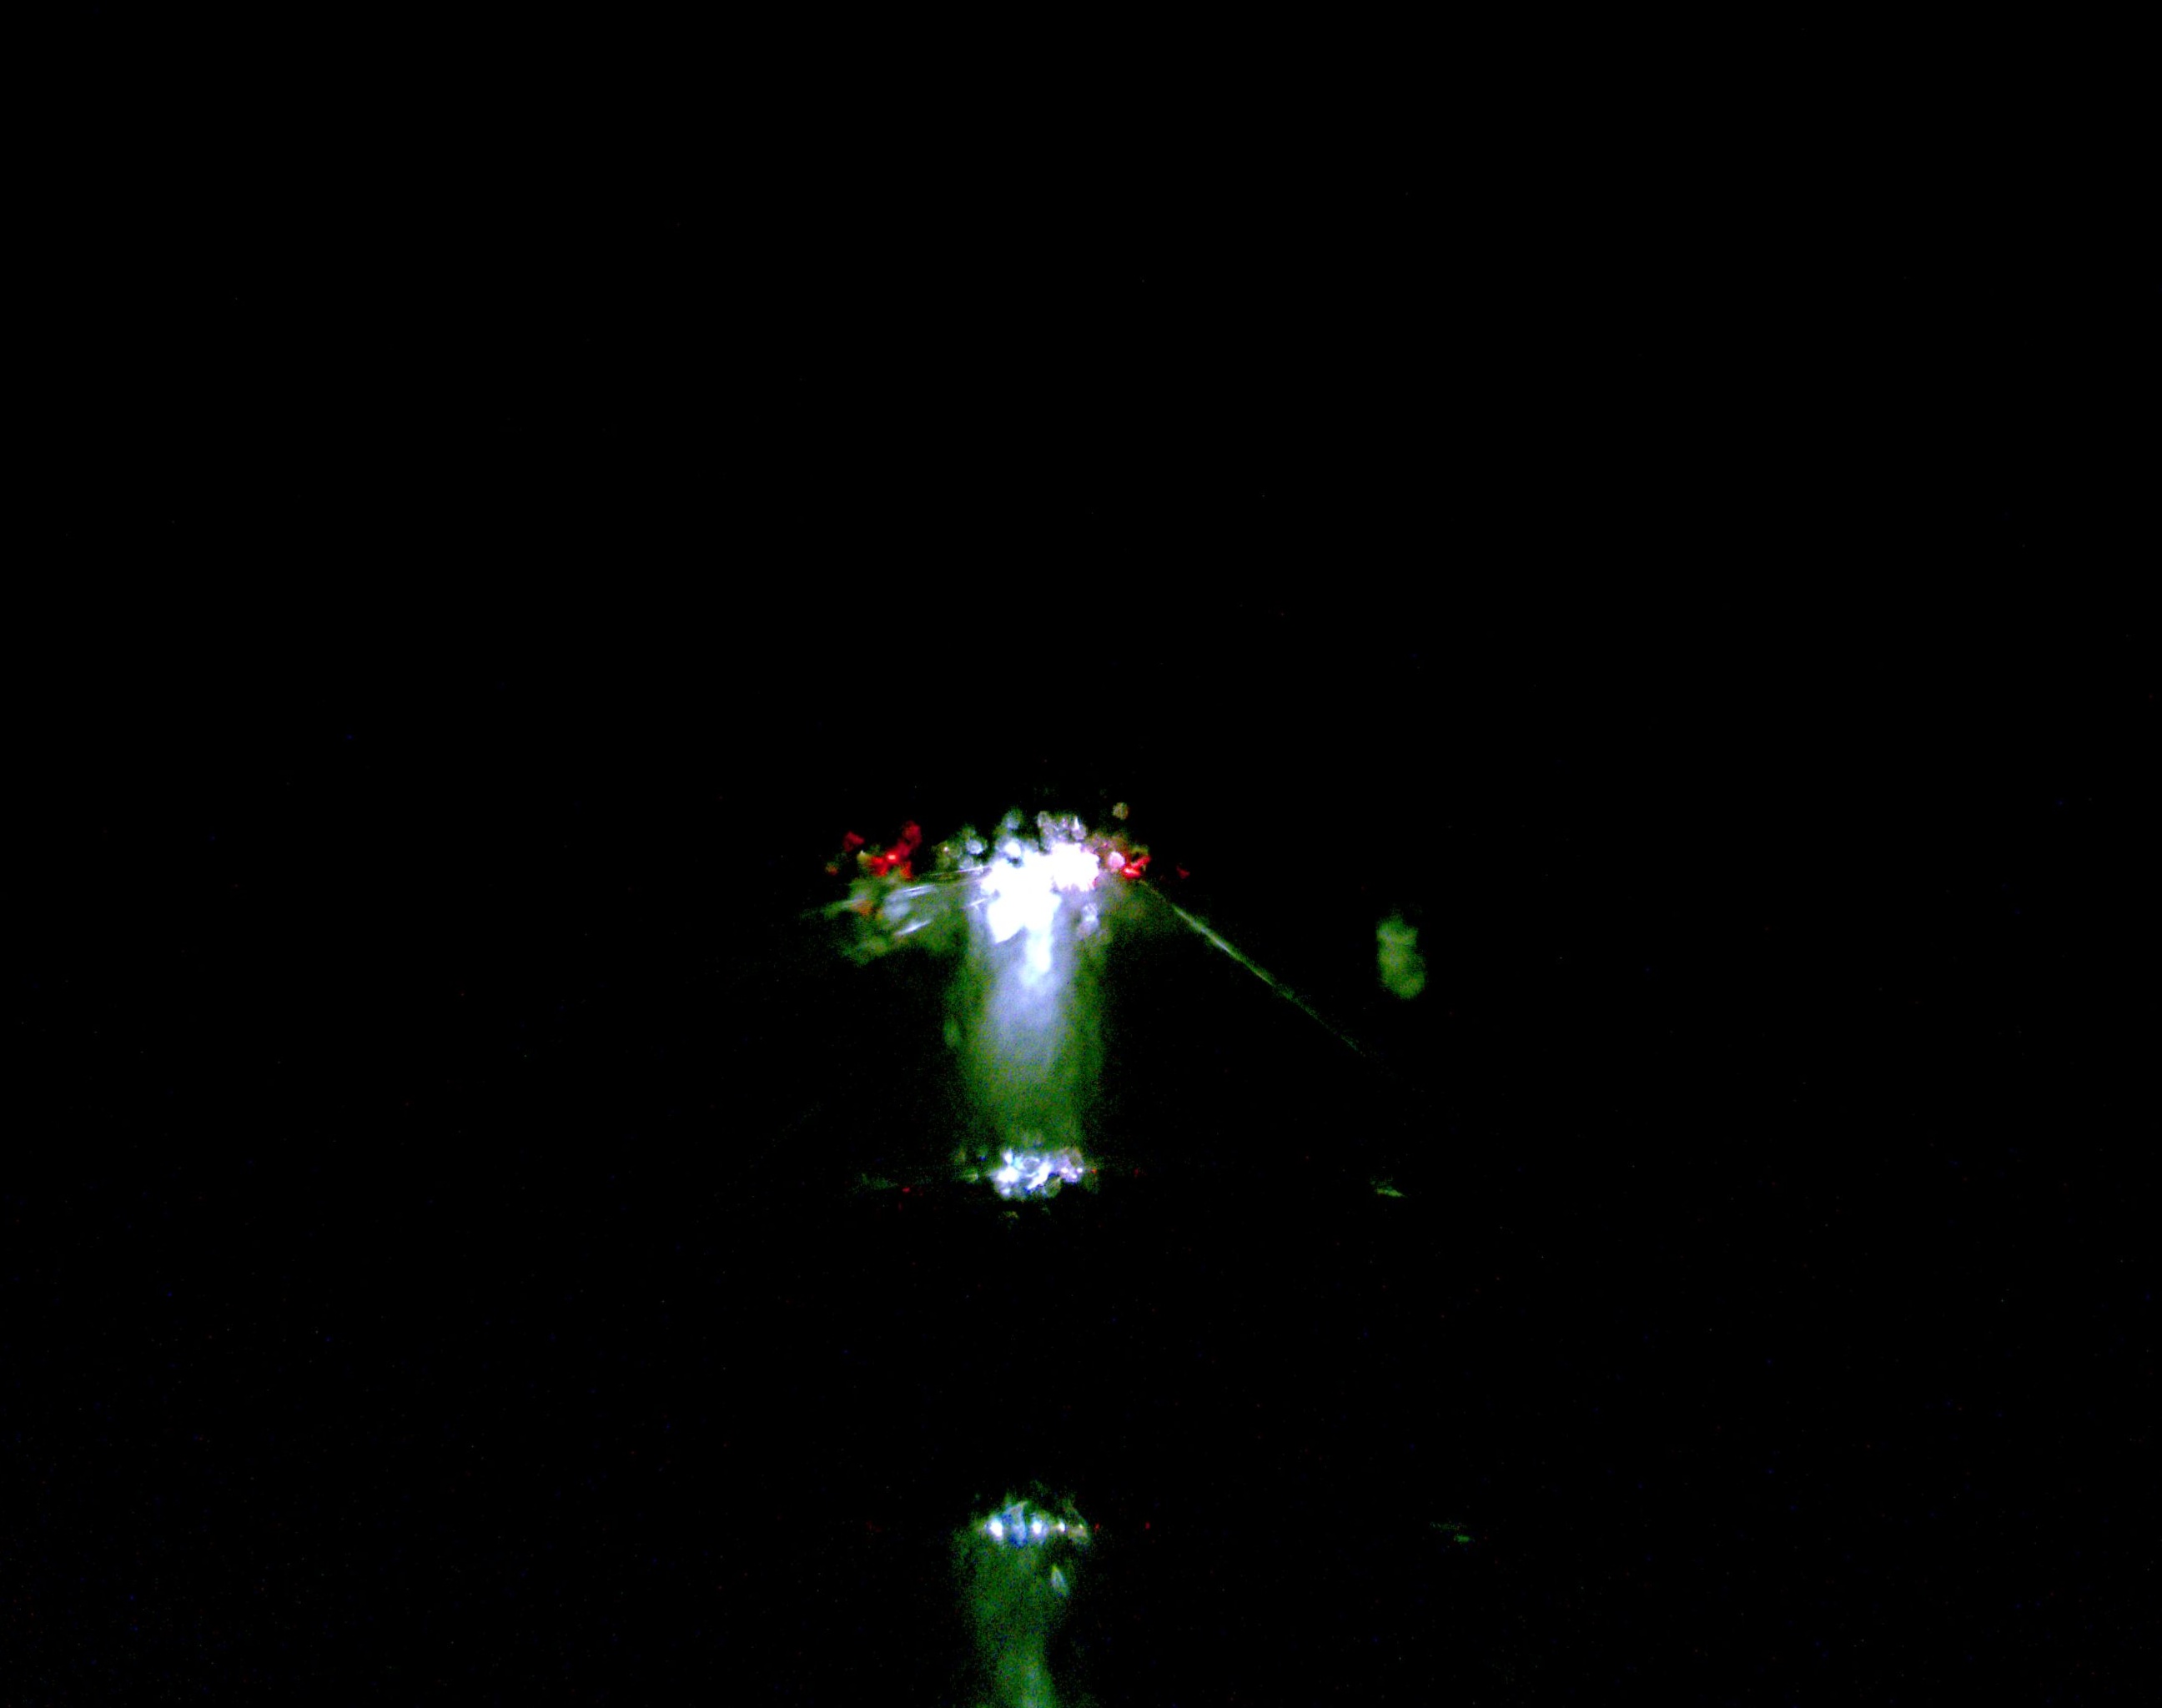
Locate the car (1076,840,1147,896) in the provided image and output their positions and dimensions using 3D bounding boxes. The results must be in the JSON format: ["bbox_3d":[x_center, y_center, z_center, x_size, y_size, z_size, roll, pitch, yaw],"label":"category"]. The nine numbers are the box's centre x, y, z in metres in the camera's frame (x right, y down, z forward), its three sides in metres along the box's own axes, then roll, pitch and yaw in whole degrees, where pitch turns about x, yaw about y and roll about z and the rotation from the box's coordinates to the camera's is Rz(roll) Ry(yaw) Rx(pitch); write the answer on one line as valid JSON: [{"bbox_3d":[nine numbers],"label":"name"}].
[{"bbox_3d":[1.184,0.480,31.024,2.448,1.958,4.915,0,0,2],"label":"car"}]

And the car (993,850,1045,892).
[{"bbox_3d":[-2.644,0.699,35.919,1.798,1.627,4.407,-3,0,1],"label":"car"}]

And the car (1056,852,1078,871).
[{"bbox_3d":[-1.275,0.668,74.435,1.759,1.519,4.491,-4,0,1],"label":"car"}]
